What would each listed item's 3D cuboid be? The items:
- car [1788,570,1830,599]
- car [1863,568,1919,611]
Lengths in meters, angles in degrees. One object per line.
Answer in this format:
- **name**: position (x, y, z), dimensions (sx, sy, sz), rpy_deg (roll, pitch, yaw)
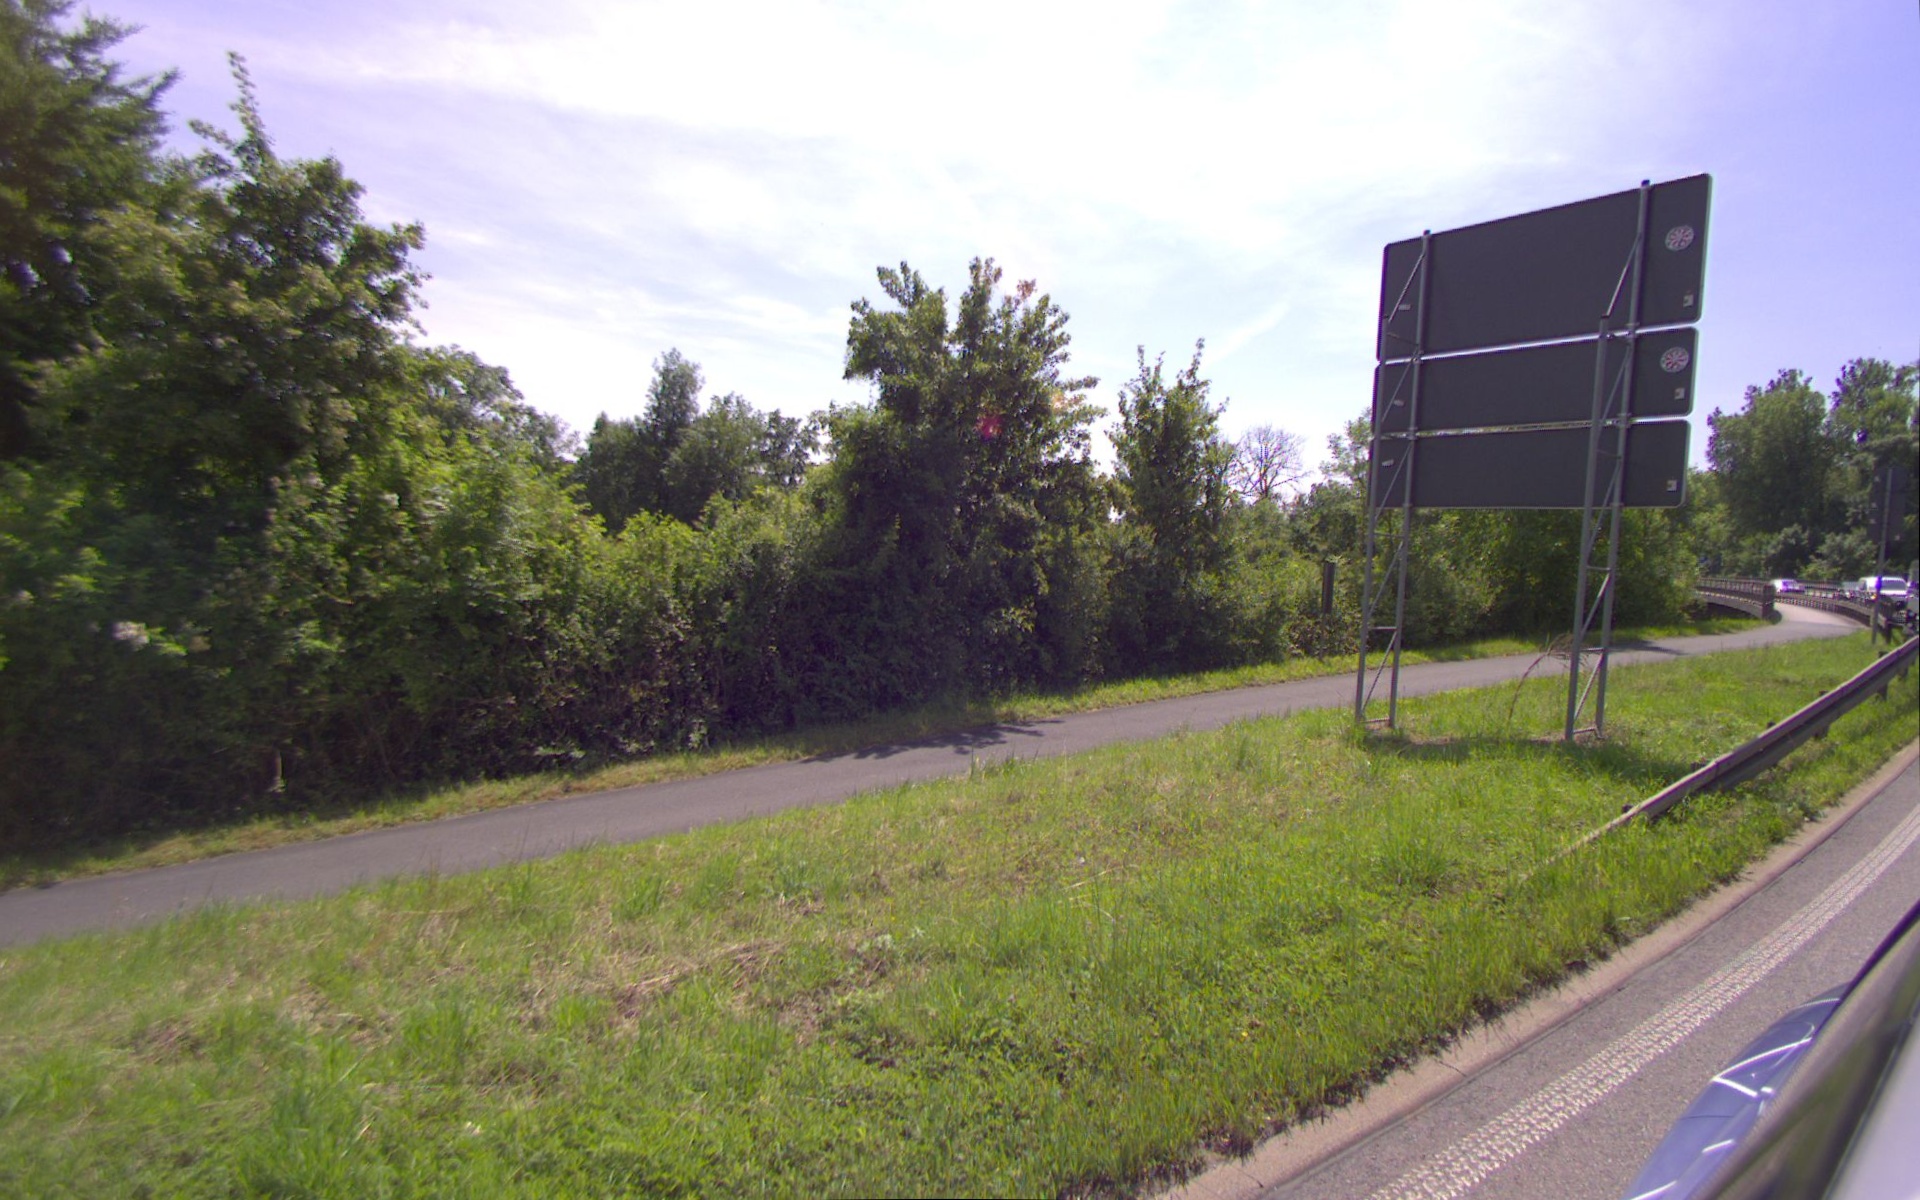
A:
- **car**: position (65.201, -1.207, 77.777), dimensions (1.985, 2.038, 3.955), rpy_deg (0, 2, 33)
- **car**: position (47.632, -0.580, 51.488), dimensions (1.987, 2.038, 4.654), rpy_deg (0, 2, 35)
